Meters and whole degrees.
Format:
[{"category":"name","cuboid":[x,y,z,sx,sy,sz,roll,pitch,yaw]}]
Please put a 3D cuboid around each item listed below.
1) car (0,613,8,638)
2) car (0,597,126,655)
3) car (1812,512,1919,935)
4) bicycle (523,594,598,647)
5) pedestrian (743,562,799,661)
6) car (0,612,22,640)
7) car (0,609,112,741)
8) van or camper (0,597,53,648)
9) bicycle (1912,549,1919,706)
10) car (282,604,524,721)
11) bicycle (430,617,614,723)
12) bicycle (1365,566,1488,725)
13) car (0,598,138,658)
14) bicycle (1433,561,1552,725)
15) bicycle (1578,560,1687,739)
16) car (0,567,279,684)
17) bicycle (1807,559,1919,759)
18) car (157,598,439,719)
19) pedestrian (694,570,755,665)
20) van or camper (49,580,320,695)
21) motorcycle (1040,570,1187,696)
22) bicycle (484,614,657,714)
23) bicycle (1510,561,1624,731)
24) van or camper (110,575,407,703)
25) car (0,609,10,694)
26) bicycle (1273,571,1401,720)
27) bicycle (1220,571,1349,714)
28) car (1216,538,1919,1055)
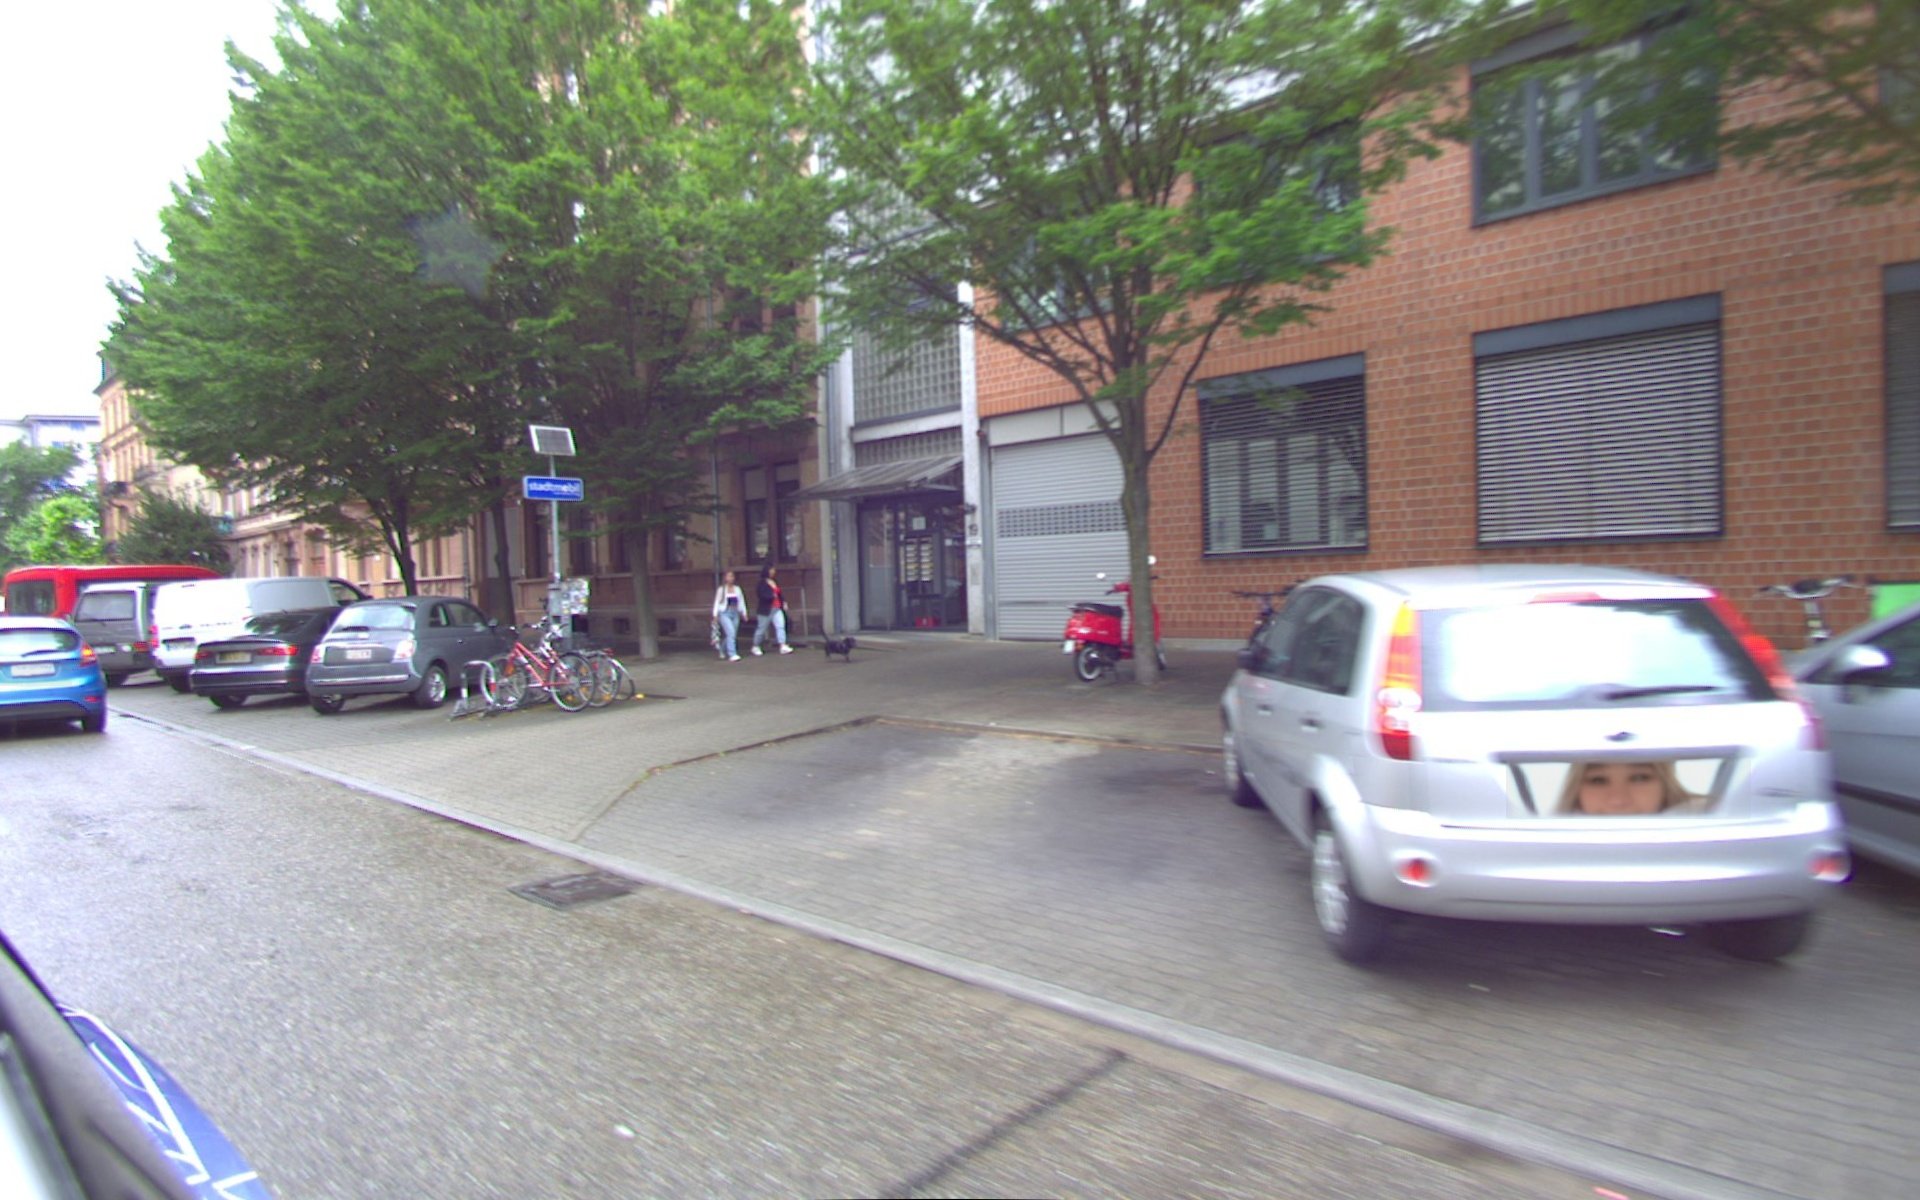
[{"category":"car","cuboid":[-62.219,1.730,62.758,1.975,1.575,4.453,-1,3,5]},{"category":"car","cuboid":[-37.060,1.028,40.722,1.854,2.094,5.226,-1,1,16]},{"category":"car","cuboid":[4.415,0.475,2.755,1.615,1.667,3.378,-1,0,8]},{"category":"bicycle","cuboid":[-9.900,0.495,25.028,2.412,1.202,0.660,-1,4,42]},{"category":"pedestrian","cuboid":[-3.174,0.191,17.032,0.588,1.613,0.562,-2,4,36]},{"category":"car","cuboid":[-58.586,1.699,59.593,1.976,1.574,4.716,-3,2,7]},{"category":"car","cuboid":[-12.305,0.880,12.886,4.000,1.476,1.653,-1,0,40]},{"category":"van or camper","cuboid":[-45.937,1.151,47.411,2.160,2.284,4.715,-3,2,9]},{"category":"bicycle","cuboid":[7.025,0.276,6.936,0.553,1.160,1.878,-1,5,38]},{"category":"car","cuboid":[-7.813,0.801,14.572,1.628,1.446,3.481,-1,0,-1]},{"category":"bicycle","cuboid":[-5.328,0.851,12.277,2.208,1.166,0.744,-3,0,26]},{"category":"bicycle","cuboid":[4.264,0.353,9.175,0.553,1.160,1.878,-1,5,38]},{"category":"car","cuboid":[-33.025,1.002,36.717,2.544,1.798,4.533,-1,3,40]},{"category":"bicycle","cuboid":[4.700,0.314,8.862,0.553,1.160,1.878,-1,5,38]},{"category":"bicycle","cuboid":[5.463,0.335,8.169,0.553,1.160,1.878,-1,5,38]},{"category":"car","cuboid":[-20.472,0.529,25.377,2.207,2.560,5.550,-2,1,14]},{"category":"bicycle","cuboid":[6.578,0.358,7.372,0.553,1.160,1.878,-1,5,38]},{"category":"car","cuboid":[-10.168,0.810,15.963,1.743,1.457,3.978,-3,2,1]},{"category":"pedestrian","cuboid":[-3.946,0.286,16.975,0.586,1.507,0.682,-2,4,36]},{"category":"van or camper","cuboid":[-15.745,0.664,20.915,1.761,1.990,4.438,-2,2,8]},{"category":"motorcycle","cuboid":[1.807,0.333,11.668,0.657,1.234,1.861,-1,4,44]},{"category":"bicycle","cuboid":[-5.005,0.824,12.991,2.134,1.166,0.777,-3,0,26]},{"category":"bicycle","cuboid":[5.145,0.324,8.524,0.553,1.160,1.878,-1,5,38]},{"category":"van or camper","cuboid":[-12.992,0.593,19.236,2.304,1.967,4.699,-3,2,0]},{"category":"car","cuboid":[-19.557,0.989,19.592,1.650,1.571,4.007,-2,1,-43]},{"category":"bicycle","cuboid":[3.664,0.386,9.739,0.553,1.160,1.878,-1,5,38]},{"category":"bicycle","cuboid":[3.277,0.375,10.103,0.553,1.160,1.878,-1,5,38]},{"category":"car","cuboid":[2.353,0.566,4.771,1.665,1.463,3.707,-1,0,6]}]
